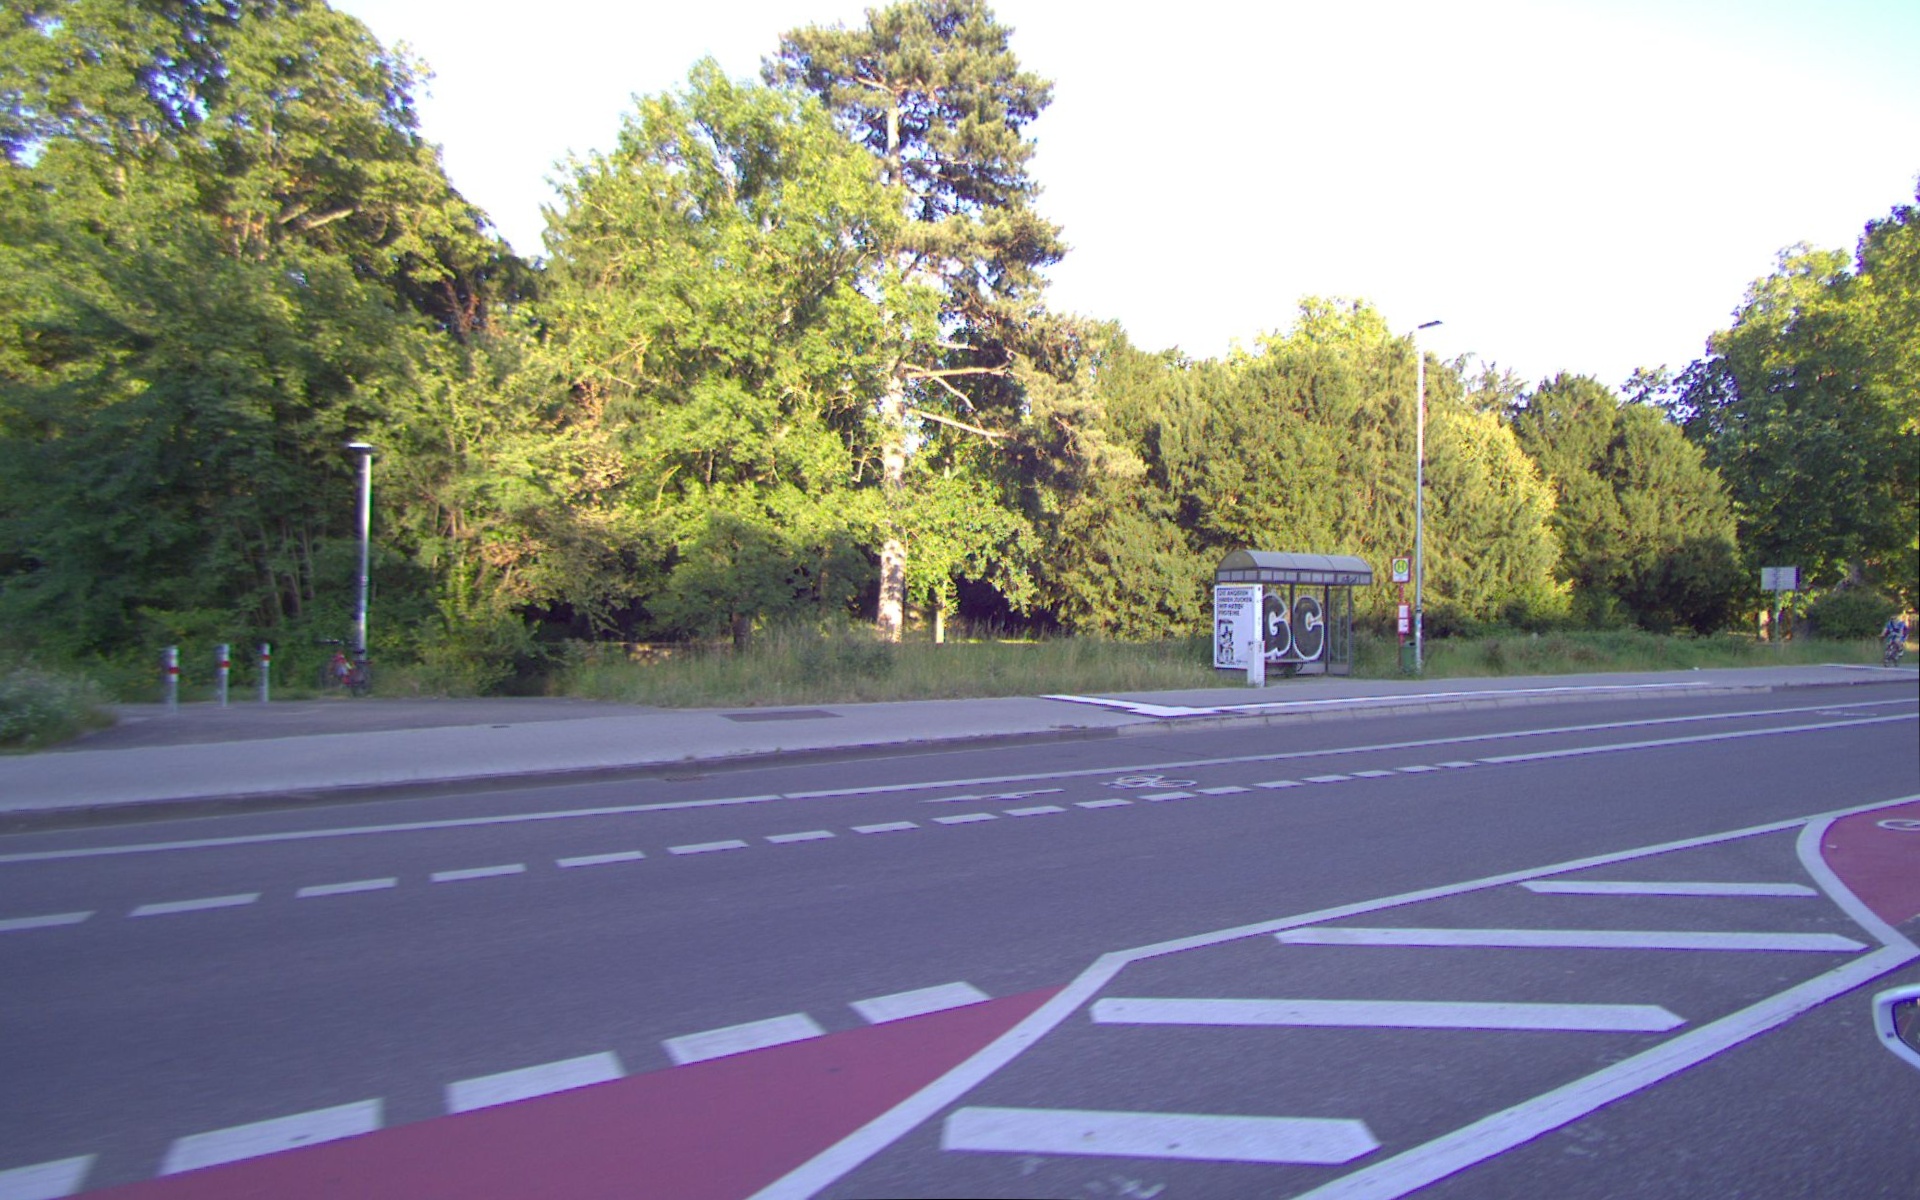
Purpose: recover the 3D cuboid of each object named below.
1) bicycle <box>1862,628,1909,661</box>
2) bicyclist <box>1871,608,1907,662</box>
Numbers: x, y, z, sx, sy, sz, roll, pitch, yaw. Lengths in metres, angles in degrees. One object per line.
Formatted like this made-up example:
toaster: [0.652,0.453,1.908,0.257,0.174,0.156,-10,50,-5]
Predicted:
bicycle: [32.832,1.575,35.620,2.100,1.115,0.765,1,0,-34]
bicyclist: [32.810,1.227,35.475,0.704,1.848,0.731,1,0,-32]
